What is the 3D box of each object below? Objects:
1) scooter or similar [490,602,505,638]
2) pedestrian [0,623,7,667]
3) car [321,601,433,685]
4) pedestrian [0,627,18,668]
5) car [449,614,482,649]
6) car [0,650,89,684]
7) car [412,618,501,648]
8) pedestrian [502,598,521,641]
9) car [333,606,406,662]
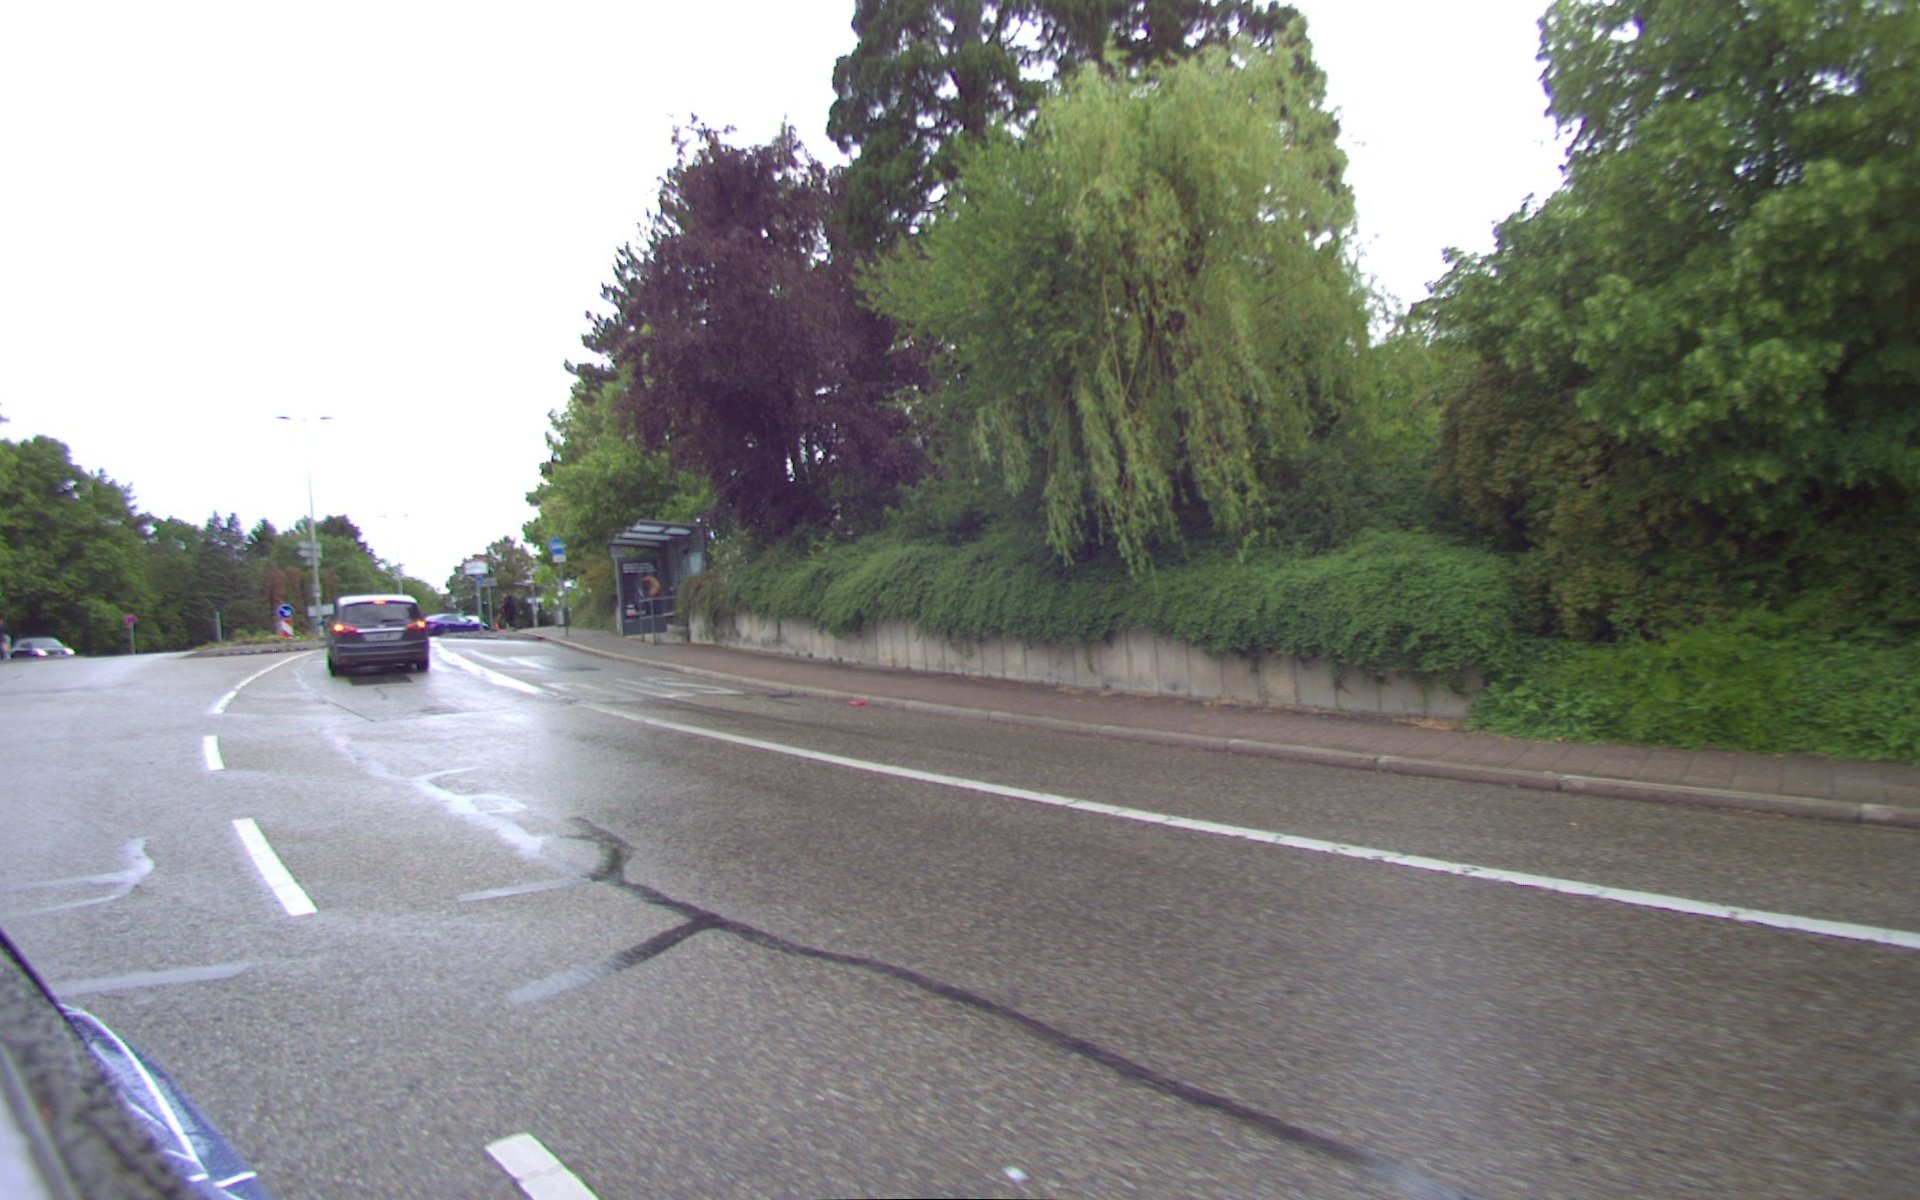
[{"bbox_3d":[-20.076,0.873,43.950,0.502,1.527,1.322,-2,-1,-23],"label":"scooter or similar"},{"bbox_3d":[-39.271,1.839,41.071,0.713,1.746,0.821,-2,-1,-34],"label":"pedestrian"},{"bbox_3d":[-12.887,0.865,22.213,1.786,1.588,4.698,-2,0,-34],"label":"car"},{"bbox_3d":[-39.748,1.989,41.891,0.716,1.667,0.818,-3,-1,4],"label":"pedestrian"},{"bbox_3d":[-38.644,2.502,79.104,2.137,2.433,5.413,-2,-3,-26],"label":"car"},{"bbox_3d":[-47.514,3.451,52.042,4.339,1.425,1.857,-4,-1,11],"label":"car"},{"bbox_3d":[-28.650,1.846,57.768,1.749,1.448,4.644,-5,-1,18],"label":"car"},{"bbox_3d":[-19.575,0.853,44.179,0.693,1.821,0.828,-2,-1,-23],"label":"pedestrian"},{"bbox_3d":[-17.609,1.026,30.153,1.698,1.475,4.389,-2,-1,-31],"label":"car"}]
